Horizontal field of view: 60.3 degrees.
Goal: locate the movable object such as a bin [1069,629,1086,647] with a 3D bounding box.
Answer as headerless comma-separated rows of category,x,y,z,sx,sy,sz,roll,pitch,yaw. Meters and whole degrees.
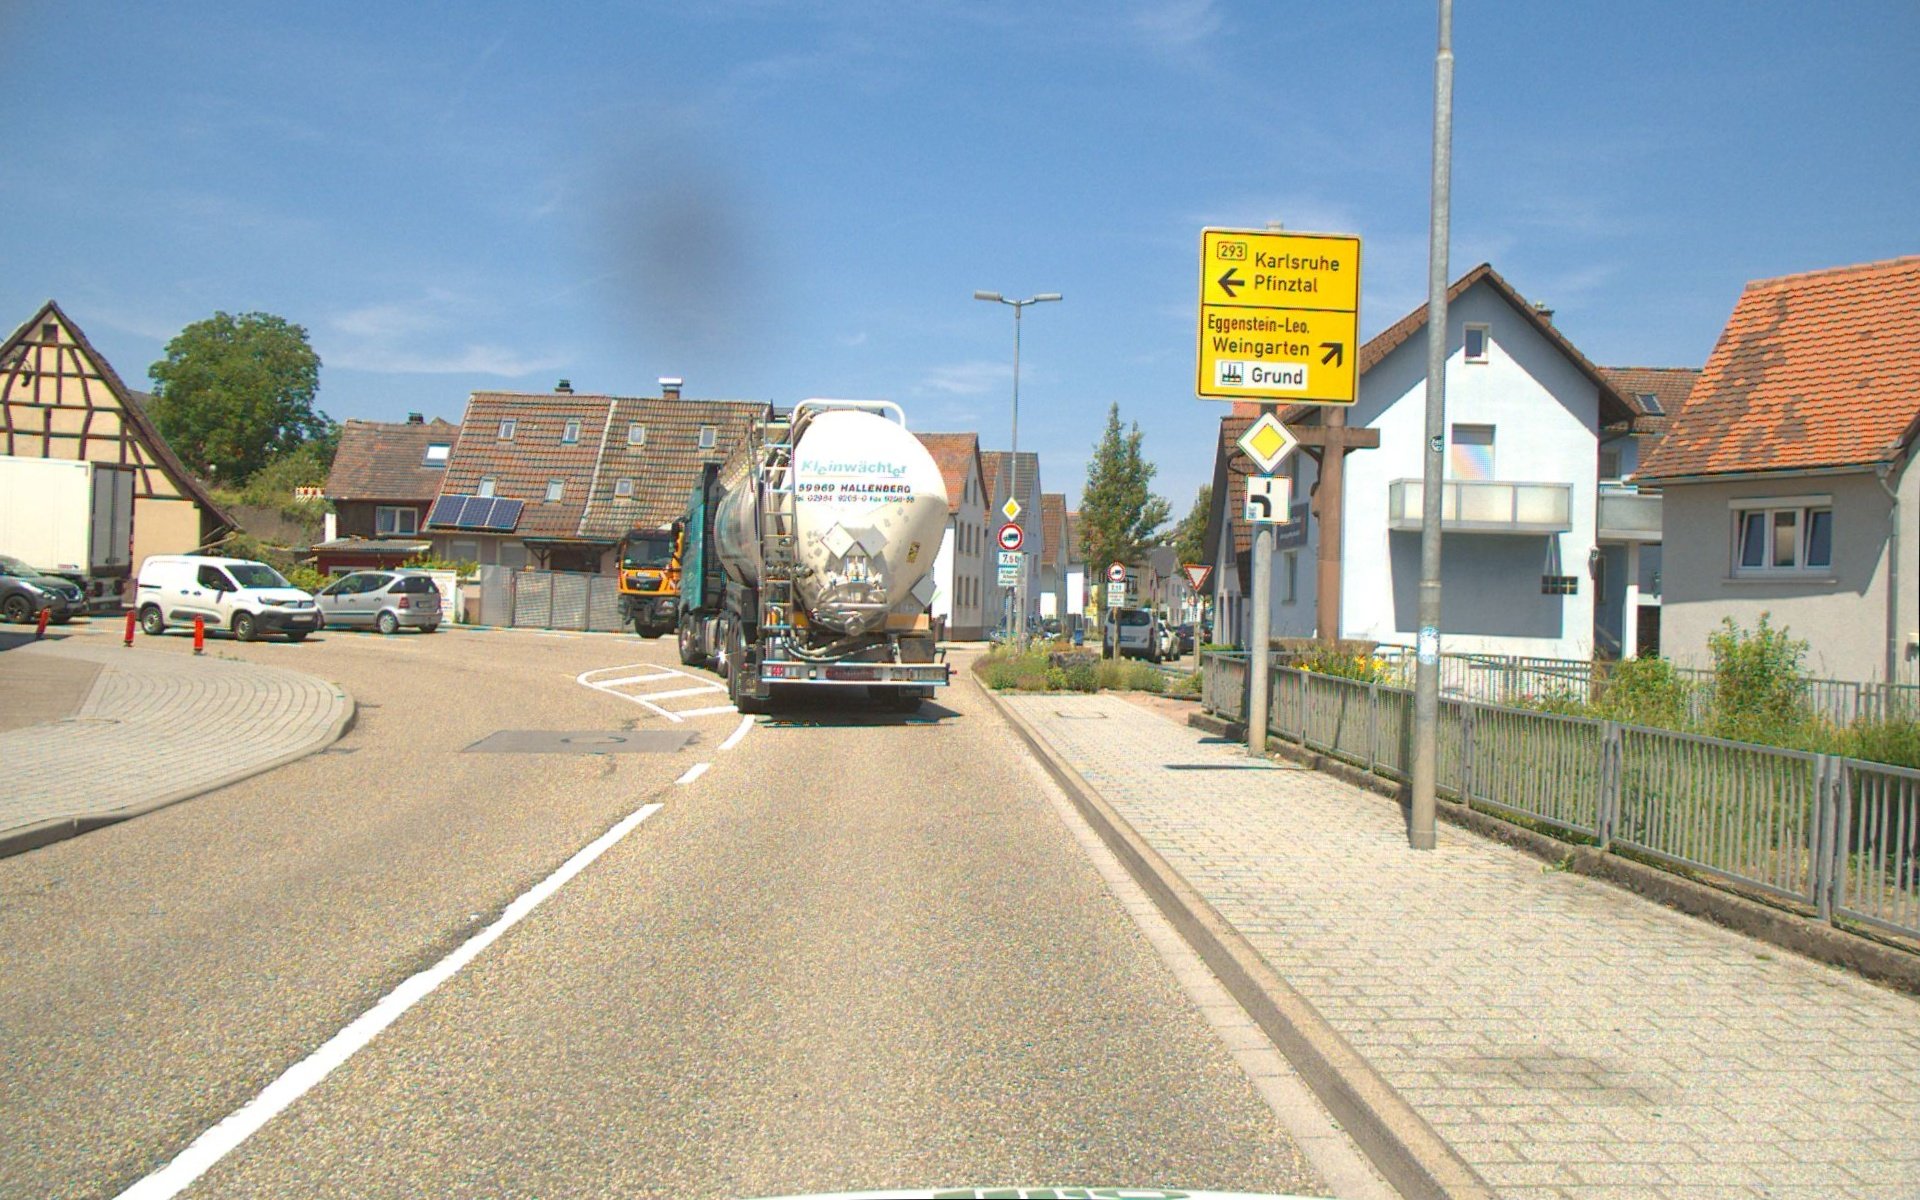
movable object such as a bin,7.545,2.450,106.459,0.900,1.067,0.944,2,-1,13

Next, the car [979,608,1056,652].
car,2.540,1.337,72.144,1.953,1.704,4.312,2,-2,22

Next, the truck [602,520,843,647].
truck,-6.786,-0.390,48.459,2.614,3.237,7.439,1,-2,33

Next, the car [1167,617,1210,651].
car,11.742,1.727,84.856,1.951,1.612,4.003,2,0,11

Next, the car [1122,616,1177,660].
car,7.716,1.526,66.930,1.778,1.663,4.211,2,-1,12

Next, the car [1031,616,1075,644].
car,5.706,1.859,101.455,1.681,1.624,4.001,2,-1,18

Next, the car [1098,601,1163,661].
car,6.193,1.154,59.782,1.951,1.946,4.327,2,-2,10

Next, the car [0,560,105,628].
car,-23.266,-0.195,40.351,3.902,1.550,1.799,3,0,8

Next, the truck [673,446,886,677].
truck,-3.675,-0.670,32.377,2.942,4.034,5.549,2,-1,-18

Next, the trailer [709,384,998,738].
trailer,-2.084,-0.425,25.111,2.899,4.017,11.589,3,-1,-10

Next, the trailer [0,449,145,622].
trailer,-28.557,-1.834,43.490,12.218,4.352,3.137,2,-1,-7

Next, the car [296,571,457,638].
car,-14.965,0.124,42.449,3.520,1.613,1.788,1,-1,20

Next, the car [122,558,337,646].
car,-16.868,0.028,38.211,4.414,1.816,1.880,2,1,20
